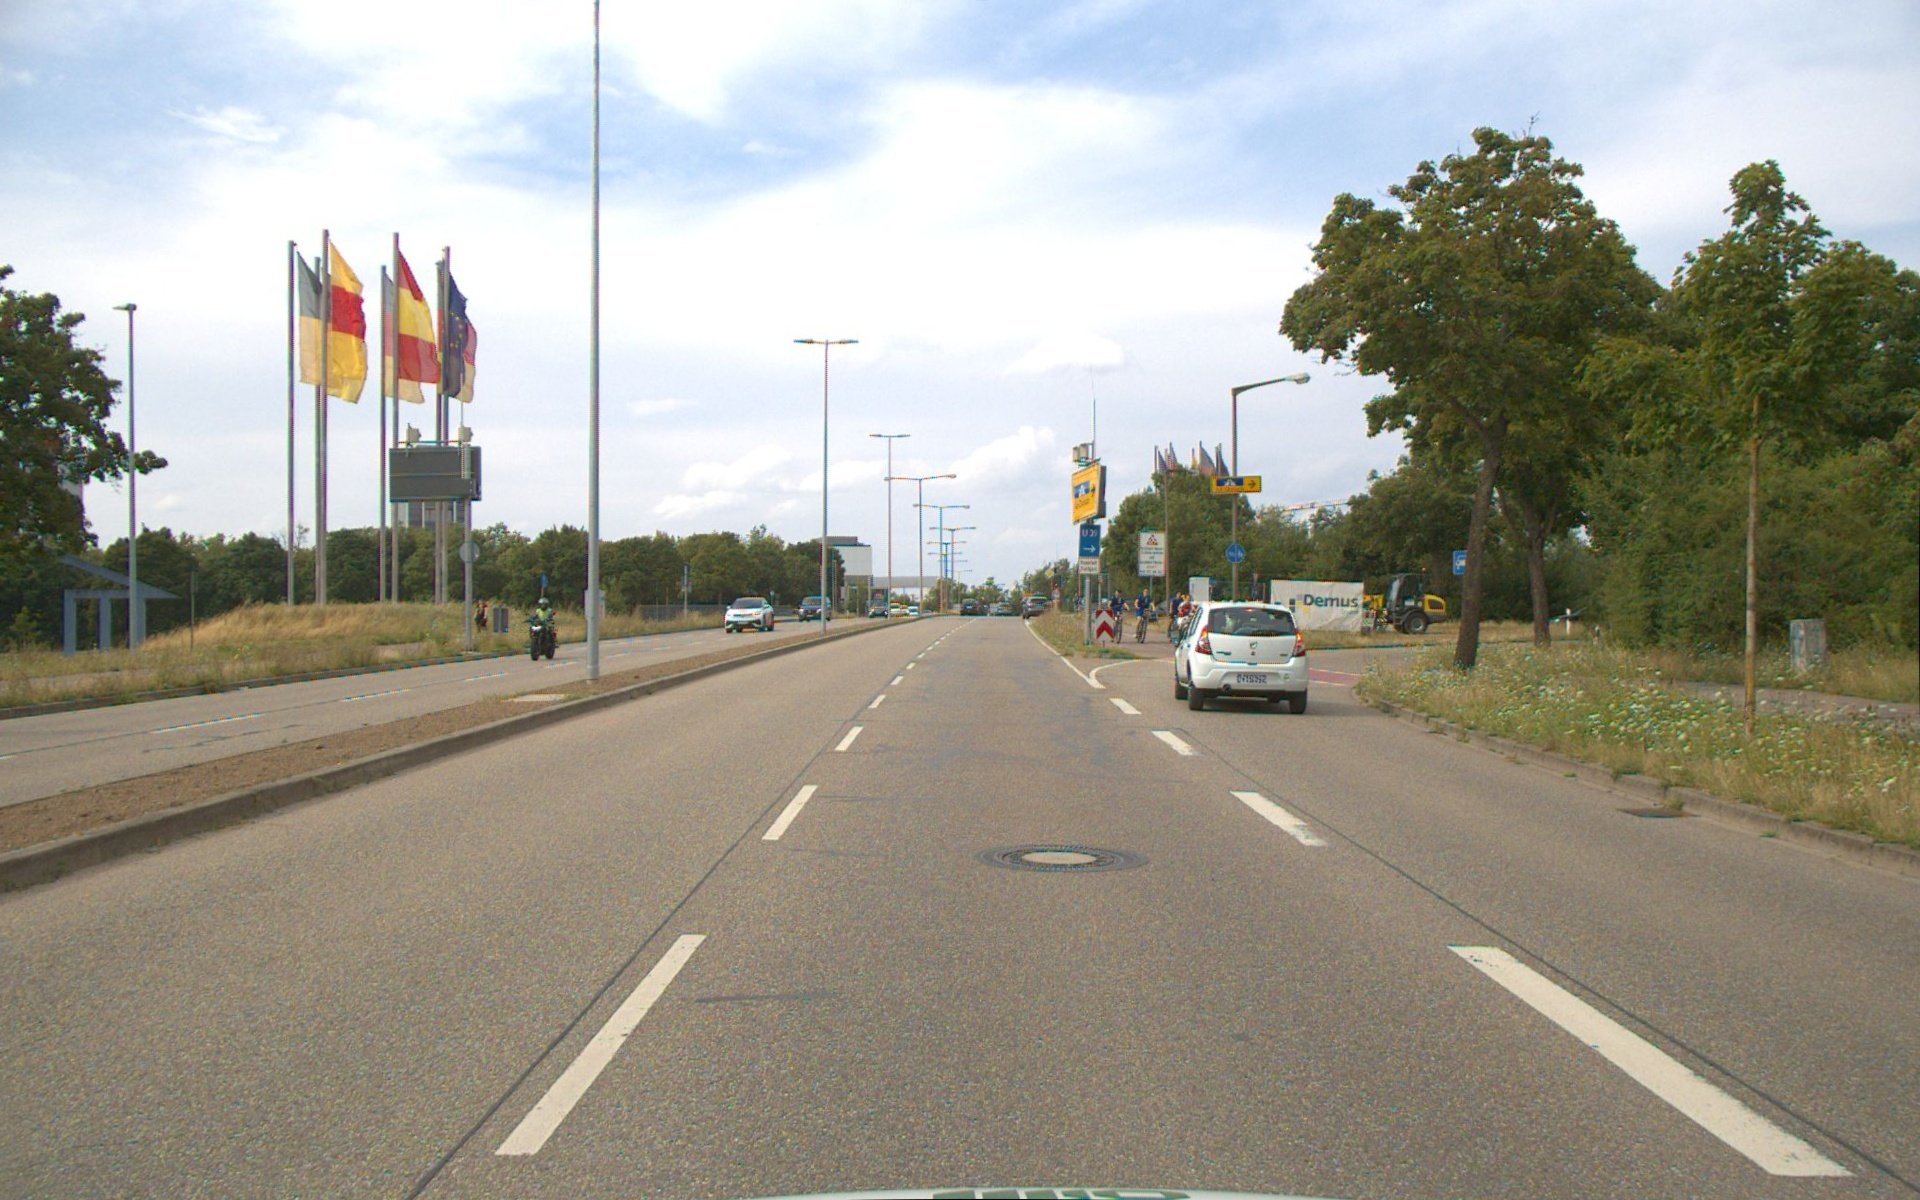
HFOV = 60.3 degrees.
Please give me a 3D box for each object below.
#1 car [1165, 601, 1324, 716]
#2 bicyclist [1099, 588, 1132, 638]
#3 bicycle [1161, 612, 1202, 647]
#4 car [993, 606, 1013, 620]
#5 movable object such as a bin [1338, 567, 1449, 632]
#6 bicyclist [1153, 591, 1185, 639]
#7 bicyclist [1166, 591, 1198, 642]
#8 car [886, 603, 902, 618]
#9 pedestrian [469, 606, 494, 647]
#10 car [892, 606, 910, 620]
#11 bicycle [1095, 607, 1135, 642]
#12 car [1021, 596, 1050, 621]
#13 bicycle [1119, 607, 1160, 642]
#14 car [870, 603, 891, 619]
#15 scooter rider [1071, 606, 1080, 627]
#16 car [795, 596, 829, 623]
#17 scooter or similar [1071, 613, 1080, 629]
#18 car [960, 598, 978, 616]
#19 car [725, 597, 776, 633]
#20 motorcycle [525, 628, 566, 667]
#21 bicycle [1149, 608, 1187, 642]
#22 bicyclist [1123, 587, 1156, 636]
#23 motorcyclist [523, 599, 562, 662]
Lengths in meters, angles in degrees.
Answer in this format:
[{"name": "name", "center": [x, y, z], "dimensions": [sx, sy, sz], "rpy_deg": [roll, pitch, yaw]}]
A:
[{"name": "car", "center": [4.169, 0.807, 24.776], "dimensions": [1.809, 1.528, 4.001], "rpy_deg": [1, 0, 2]}, {"name": "bicyclist", "center": [4.865, 0.419, 51.796], "dimensions": [0.728, 1.545, 0.955], "rpy_deg": [1, -1, -13]}, {"name": "bicycle", "center": [6.620, 0.882, 49.490], "dimensions": [0.609, 1.023, 1.781], "rpy_deg": [-2, -1, -13]}, {"name": "car", "center": [5.090, 1.581, 197.219], "dimensions": [1.698, 1.553, 4.107], "rpy_deg": [1, -1, -8]}, {"name": "movable object such as a bin", "center": [18.873, 0.005, 72.128], "dimensions": [4.406, 2.736, 2.103], "rpy_deg": [1, -1, 6]}, {"name": "bicyclist", "center": [6.680, 0.482, 52.862], "dimensions": [0.728, 1.513, 0.955], "rpy_deg": [1, -1, -13]}, {"name": "bicyclist", "center": [6.624, 0.505, 49.432], "dimensions": [0.727, 1.499, 0.803], "rpy_deg": [1, -1, -12]}, {"name": "car", "center": [-7.380, 1.158, 184.299], "dimensions": [1.517, 1.605, 3.691], "rpy_deg": [-2, 0, 1]}, {"name": "pedestrian", "center": [-20.644, 1.152, 71.400], "dimensions": [0.848, 1.722, 0.679], "rpy_deg": [-2, 0, -1]}, {"name": "car", "center": [-7.111, 1.576, 199.749], "dimensions": [1.615, 1.542, 4.018], "rpy_deg": [-2, 0, 5]}, {"name": "bicycle", "center": [4.840, 0.764, 51.825], "dimensions": [0.609, 1.023, 2.096], "rpy_deg": [3, 0, -13]}, {"name": "car", "center": [5.512, 0.645, 121.121], "dimensions": [1.696, 1.682, 4.112], "rpy_deg": [1, -1, -3]}, {"name": "bicycle", "center": [5.680, 0.779, 52.539], "dimensions": [0.585, 1.055, 2.188], "rpy_deg": [3, -1, -13]}, {"name": "car", "center": [-7.632, 1.024, 159.388], "dimensions": [1.727, 1.466, 4.177], "rpy_deg": [-2, 0, 1]}, {"name": "scooter rider", "center": [9.516, 1.332, 136.280], "dimensions": [0.576, 1.720, 0.742], "rpy_deg": [1, -1, -7]}, {"name": "car", "center": [-11.293, 0.753, 126.804], "dimensions": [1.809, 1.927, 5.506], "rpy_deg": [-3, 0, 2]}, {"name": "scooter or similar", "center": [9.513, 1.731, 136.265], "dimensions": [0.576, 1.246, 1.201], "rpy_deg": [1, -1, -6]}, {"name": "car", "center": [0.909, 0.737, 162.217], "dimensions": [1.694, 1.682, 4.115], "rpy_deg": [0, -1, 2]}, {"name": "car", "center": [-10.018, 0.692, 79.255], "dimensions": [1.809, 1.629, 4.561], "rpy_deg": [-1, 1, 0]}, {"name": "motorcycle", "center": [-10.949, 1.241, 43.719], "dimensions": [0.512, 0.984, 2.219], "rpy_deg": [-1, 0, 0]}, {"name": "bicycle", "center": [6.634, 0.806, 52.914], "dimensions": [0.609, 1.023, 1.781], "rpy_deg": [-2, -1, -13]}, {"name": "bicyclist", "center": [5.686, 0.365, 52.459], "dimensions": [0.728, 1.545, 0.955], "rpy_deg": [1, -1, -14]}, {"name": "motorcyclist", "center": [-10.990, 0.786, 43.577], "dimensions": [0.754, 1.616, 0.896], "rpy_deg": [-2, 0, 0]}]
